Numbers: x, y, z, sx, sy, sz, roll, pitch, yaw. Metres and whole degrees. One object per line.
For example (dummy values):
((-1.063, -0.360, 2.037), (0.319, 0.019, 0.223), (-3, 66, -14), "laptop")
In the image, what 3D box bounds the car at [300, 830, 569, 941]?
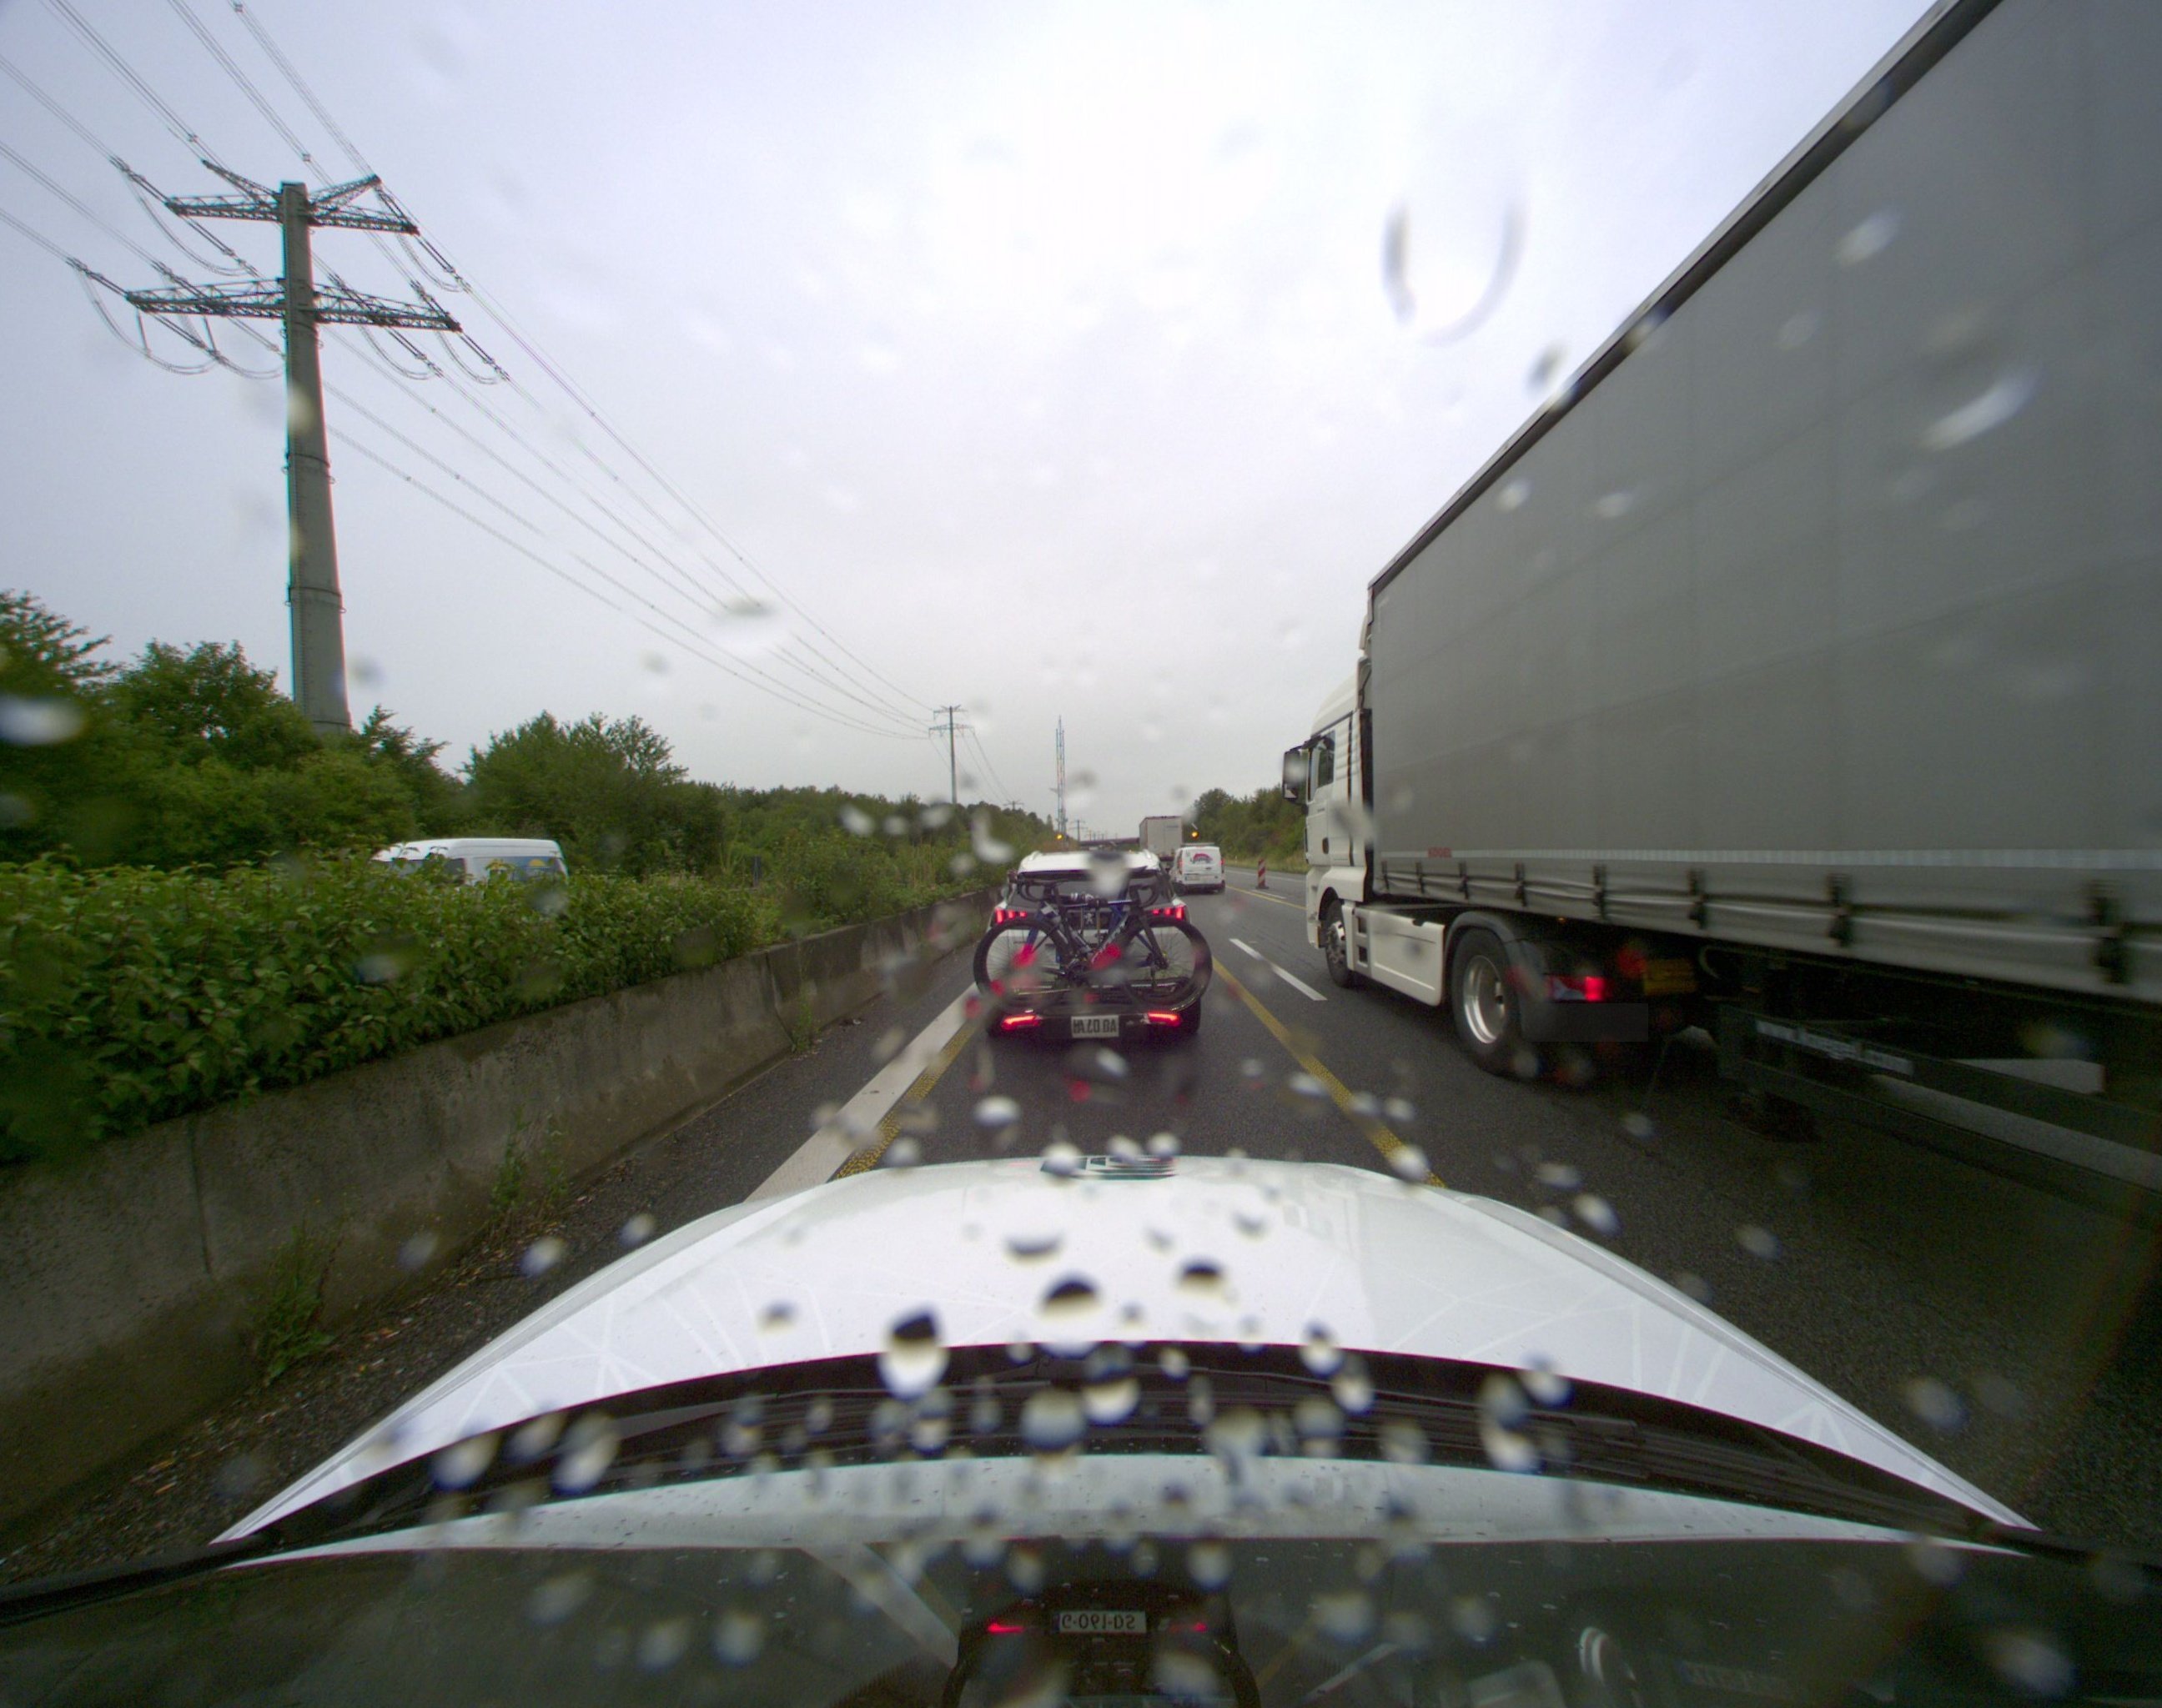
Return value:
((-15.143, 0.657, 19.609), (2.172, 2.265, 5.206), (-1, 0, 2), "car")

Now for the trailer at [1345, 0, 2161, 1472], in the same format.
((3.765, -0.679, 1.124), (2.696, 4.146, 13.737), (-1, 0, 2), "trailer")

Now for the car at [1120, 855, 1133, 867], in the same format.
((7.998, 1.153, 143.096), (2.140, 1.973, 4.002), (-1, 1, 2), "car")

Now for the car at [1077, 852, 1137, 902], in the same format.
((0.890, 0.728, 27.496), (1.843, 1.531, 4.002), (-1, 0, 2), "car")

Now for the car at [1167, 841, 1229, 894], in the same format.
((4.436, 0.477, 31.415), (1.822, 1.839, 4.657), (-1, 0, 2), "car")

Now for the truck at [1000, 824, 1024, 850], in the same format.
((-11.357, -2.721, 134.744), (2.776, 4.023, 7.235), (-4, 0, 1), "truck")

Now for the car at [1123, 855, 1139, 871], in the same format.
((6.856, 1.257, 112.538), (2.102, 1.973, 4.002), (-1, 1, 2), "car")

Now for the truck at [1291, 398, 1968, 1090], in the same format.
((4.044, -0.667, 7.780), (2.696, 4.138, 5.693), (-1, 0, 2), "truck")

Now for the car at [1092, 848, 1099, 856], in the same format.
((3.749, -0.600, 211.635), (1.924, 1.910, 4.002), (-1, 1, 2), "car")

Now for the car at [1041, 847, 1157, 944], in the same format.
((0.360, 0.670, 15.170), (1.843, 1.531, 4.002), (-1, 0, 2), "car")

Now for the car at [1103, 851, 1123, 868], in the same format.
((3.117, 0.505, 79.255), (1.843, 1.531, 4.002), (-1, 0, 2), "car")

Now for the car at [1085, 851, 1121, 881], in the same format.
((1.229, 0.644, 44.415), (1.843, 1.531, 4.002), (-1, 0, 2), "car")

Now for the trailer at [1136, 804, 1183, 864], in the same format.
((5.886, -1.353, 62.799), (2.682, 4.076, 13.639), (-1, 0, 2), "trailer")

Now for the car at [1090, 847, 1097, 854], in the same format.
((3.475, -0.957, 224.444), (1.924, 1.973, 4.002), (-1, 1, 2), "car")

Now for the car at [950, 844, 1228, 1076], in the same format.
((0.129, 0.711, 7.850), (1.843, 1.531, 4.770), (-1, 0, 2), "car")

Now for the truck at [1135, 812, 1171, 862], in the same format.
((6.095, -1.401, 69.635), (2.650, 4.076, 6.542), (-1, 0, 2), "truck")

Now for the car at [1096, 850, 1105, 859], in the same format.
((4.652, 0.031, 193.080), (1.924, 1.973, 4.002), (-1, 1, 2), "car")
